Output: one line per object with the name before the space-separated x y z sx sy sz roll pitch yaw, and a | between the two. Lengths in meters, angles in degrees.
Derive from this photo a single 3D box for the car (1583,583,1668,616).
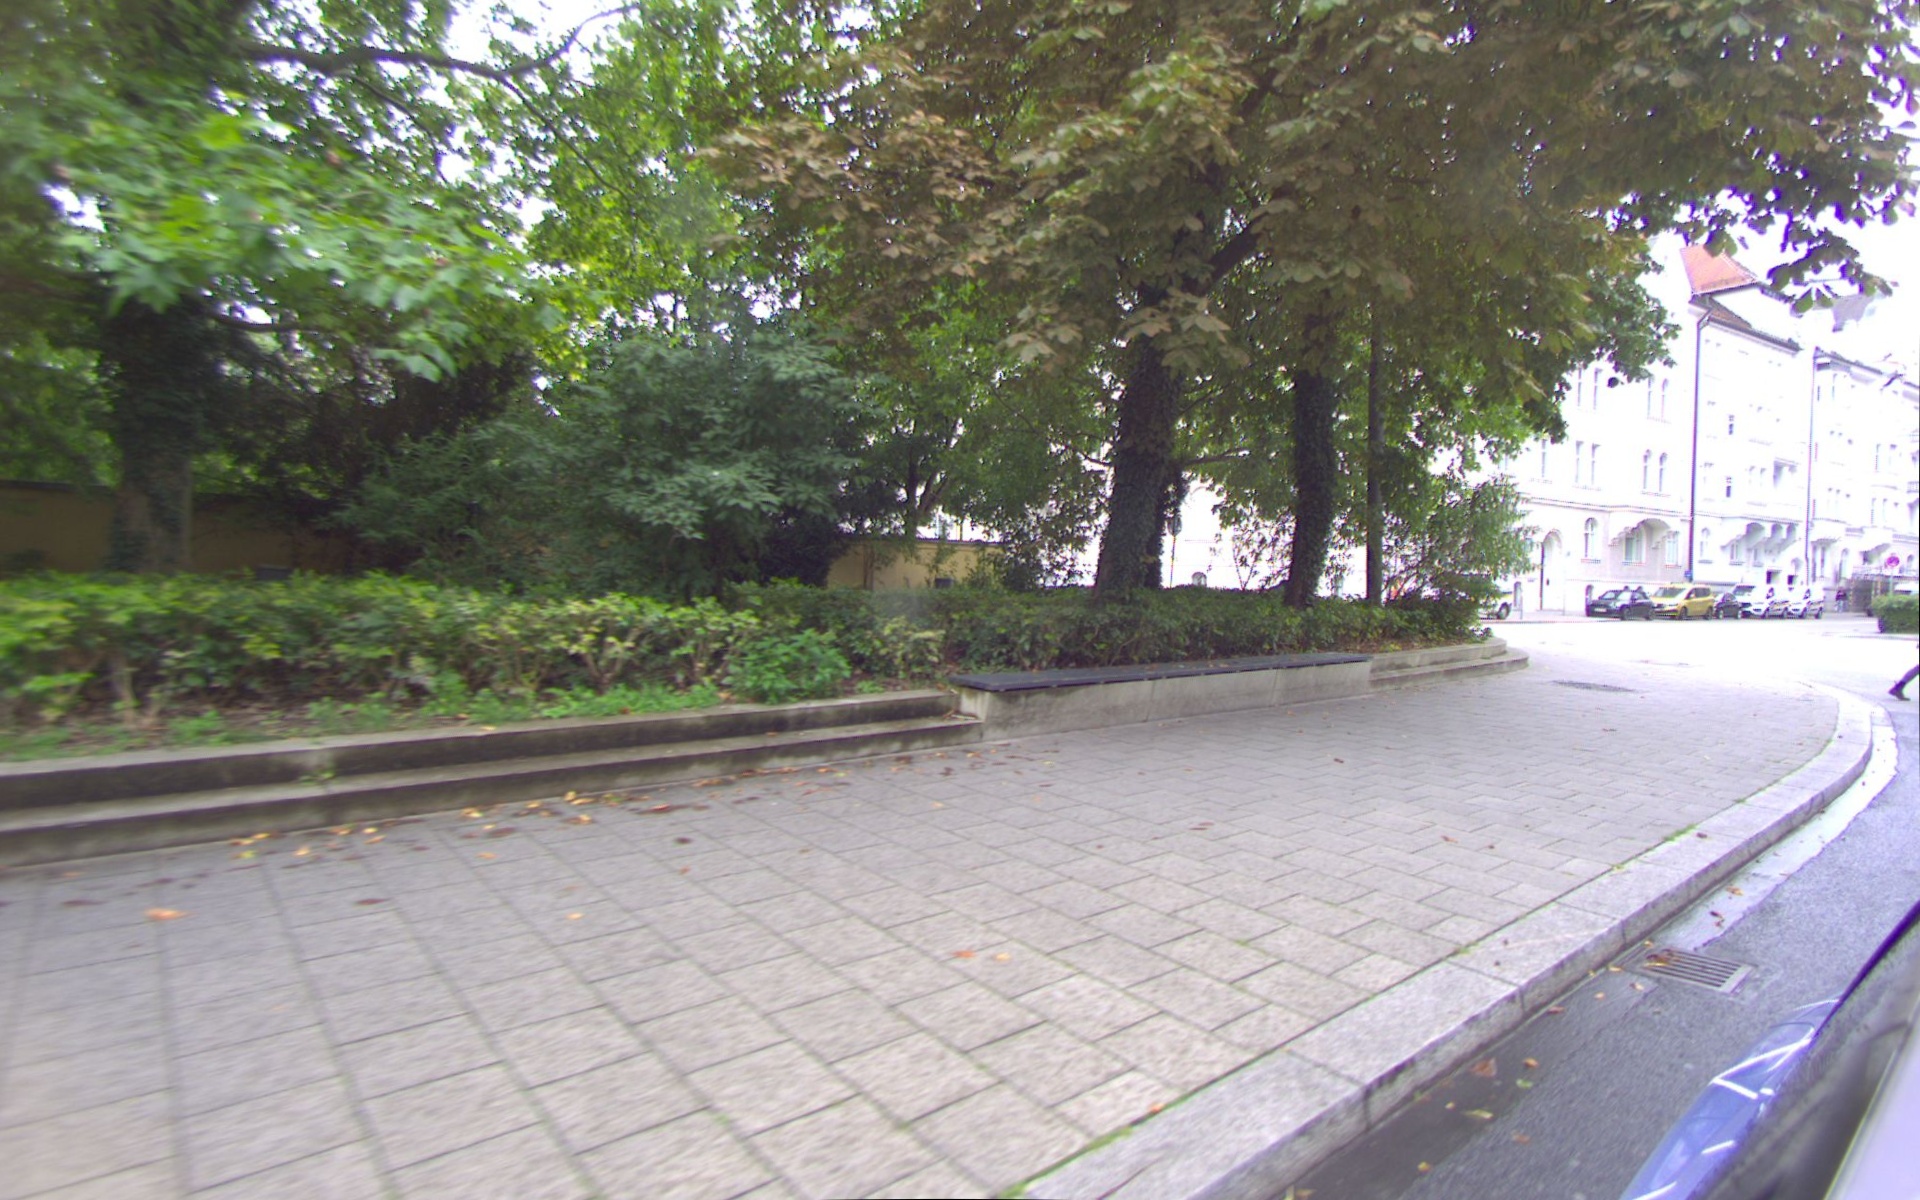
car | 31.865 -0.038 48.448 3.744 1.437 1.954 -1 3 -31

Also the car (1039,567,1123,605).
car | 5.412 -0.687 45.726 1.703 1.602 4.005 -1 3 -31

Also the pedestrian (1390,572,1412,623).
pedestrian | 15.591 -0.092 35.810 0.558 1.790 0.406 0 2 -23

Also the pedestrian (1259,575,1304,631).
pedestrian | 7.118 0.067 22.387 0.730 1.192 0.579 1 1 -31

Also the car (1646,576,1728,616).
car | 36.667 -0.241 51.050 4.219 1.841 1.798 -1 3 -31

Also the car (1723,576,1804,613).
car | 45.424 -0.352 57.195 4.680 1.936 2.161 -1 3 -33

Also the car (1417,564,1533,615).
car | 21.427 -0.441 42.082 4.875 1.958 1.954 0 2 -31

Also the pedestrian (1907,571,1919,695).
pedestrian | 13.199 0.448 13.432 0.860 1.639 0.585 2 2 42

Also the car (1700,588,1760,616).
car | 41.204 0.079 54.146 3.292 1.375 1.444 -1 3 -31

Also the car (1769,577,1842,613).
car | 50.594 -0.330 60.576 4.487 1.962 2.057 -1 3 -33
